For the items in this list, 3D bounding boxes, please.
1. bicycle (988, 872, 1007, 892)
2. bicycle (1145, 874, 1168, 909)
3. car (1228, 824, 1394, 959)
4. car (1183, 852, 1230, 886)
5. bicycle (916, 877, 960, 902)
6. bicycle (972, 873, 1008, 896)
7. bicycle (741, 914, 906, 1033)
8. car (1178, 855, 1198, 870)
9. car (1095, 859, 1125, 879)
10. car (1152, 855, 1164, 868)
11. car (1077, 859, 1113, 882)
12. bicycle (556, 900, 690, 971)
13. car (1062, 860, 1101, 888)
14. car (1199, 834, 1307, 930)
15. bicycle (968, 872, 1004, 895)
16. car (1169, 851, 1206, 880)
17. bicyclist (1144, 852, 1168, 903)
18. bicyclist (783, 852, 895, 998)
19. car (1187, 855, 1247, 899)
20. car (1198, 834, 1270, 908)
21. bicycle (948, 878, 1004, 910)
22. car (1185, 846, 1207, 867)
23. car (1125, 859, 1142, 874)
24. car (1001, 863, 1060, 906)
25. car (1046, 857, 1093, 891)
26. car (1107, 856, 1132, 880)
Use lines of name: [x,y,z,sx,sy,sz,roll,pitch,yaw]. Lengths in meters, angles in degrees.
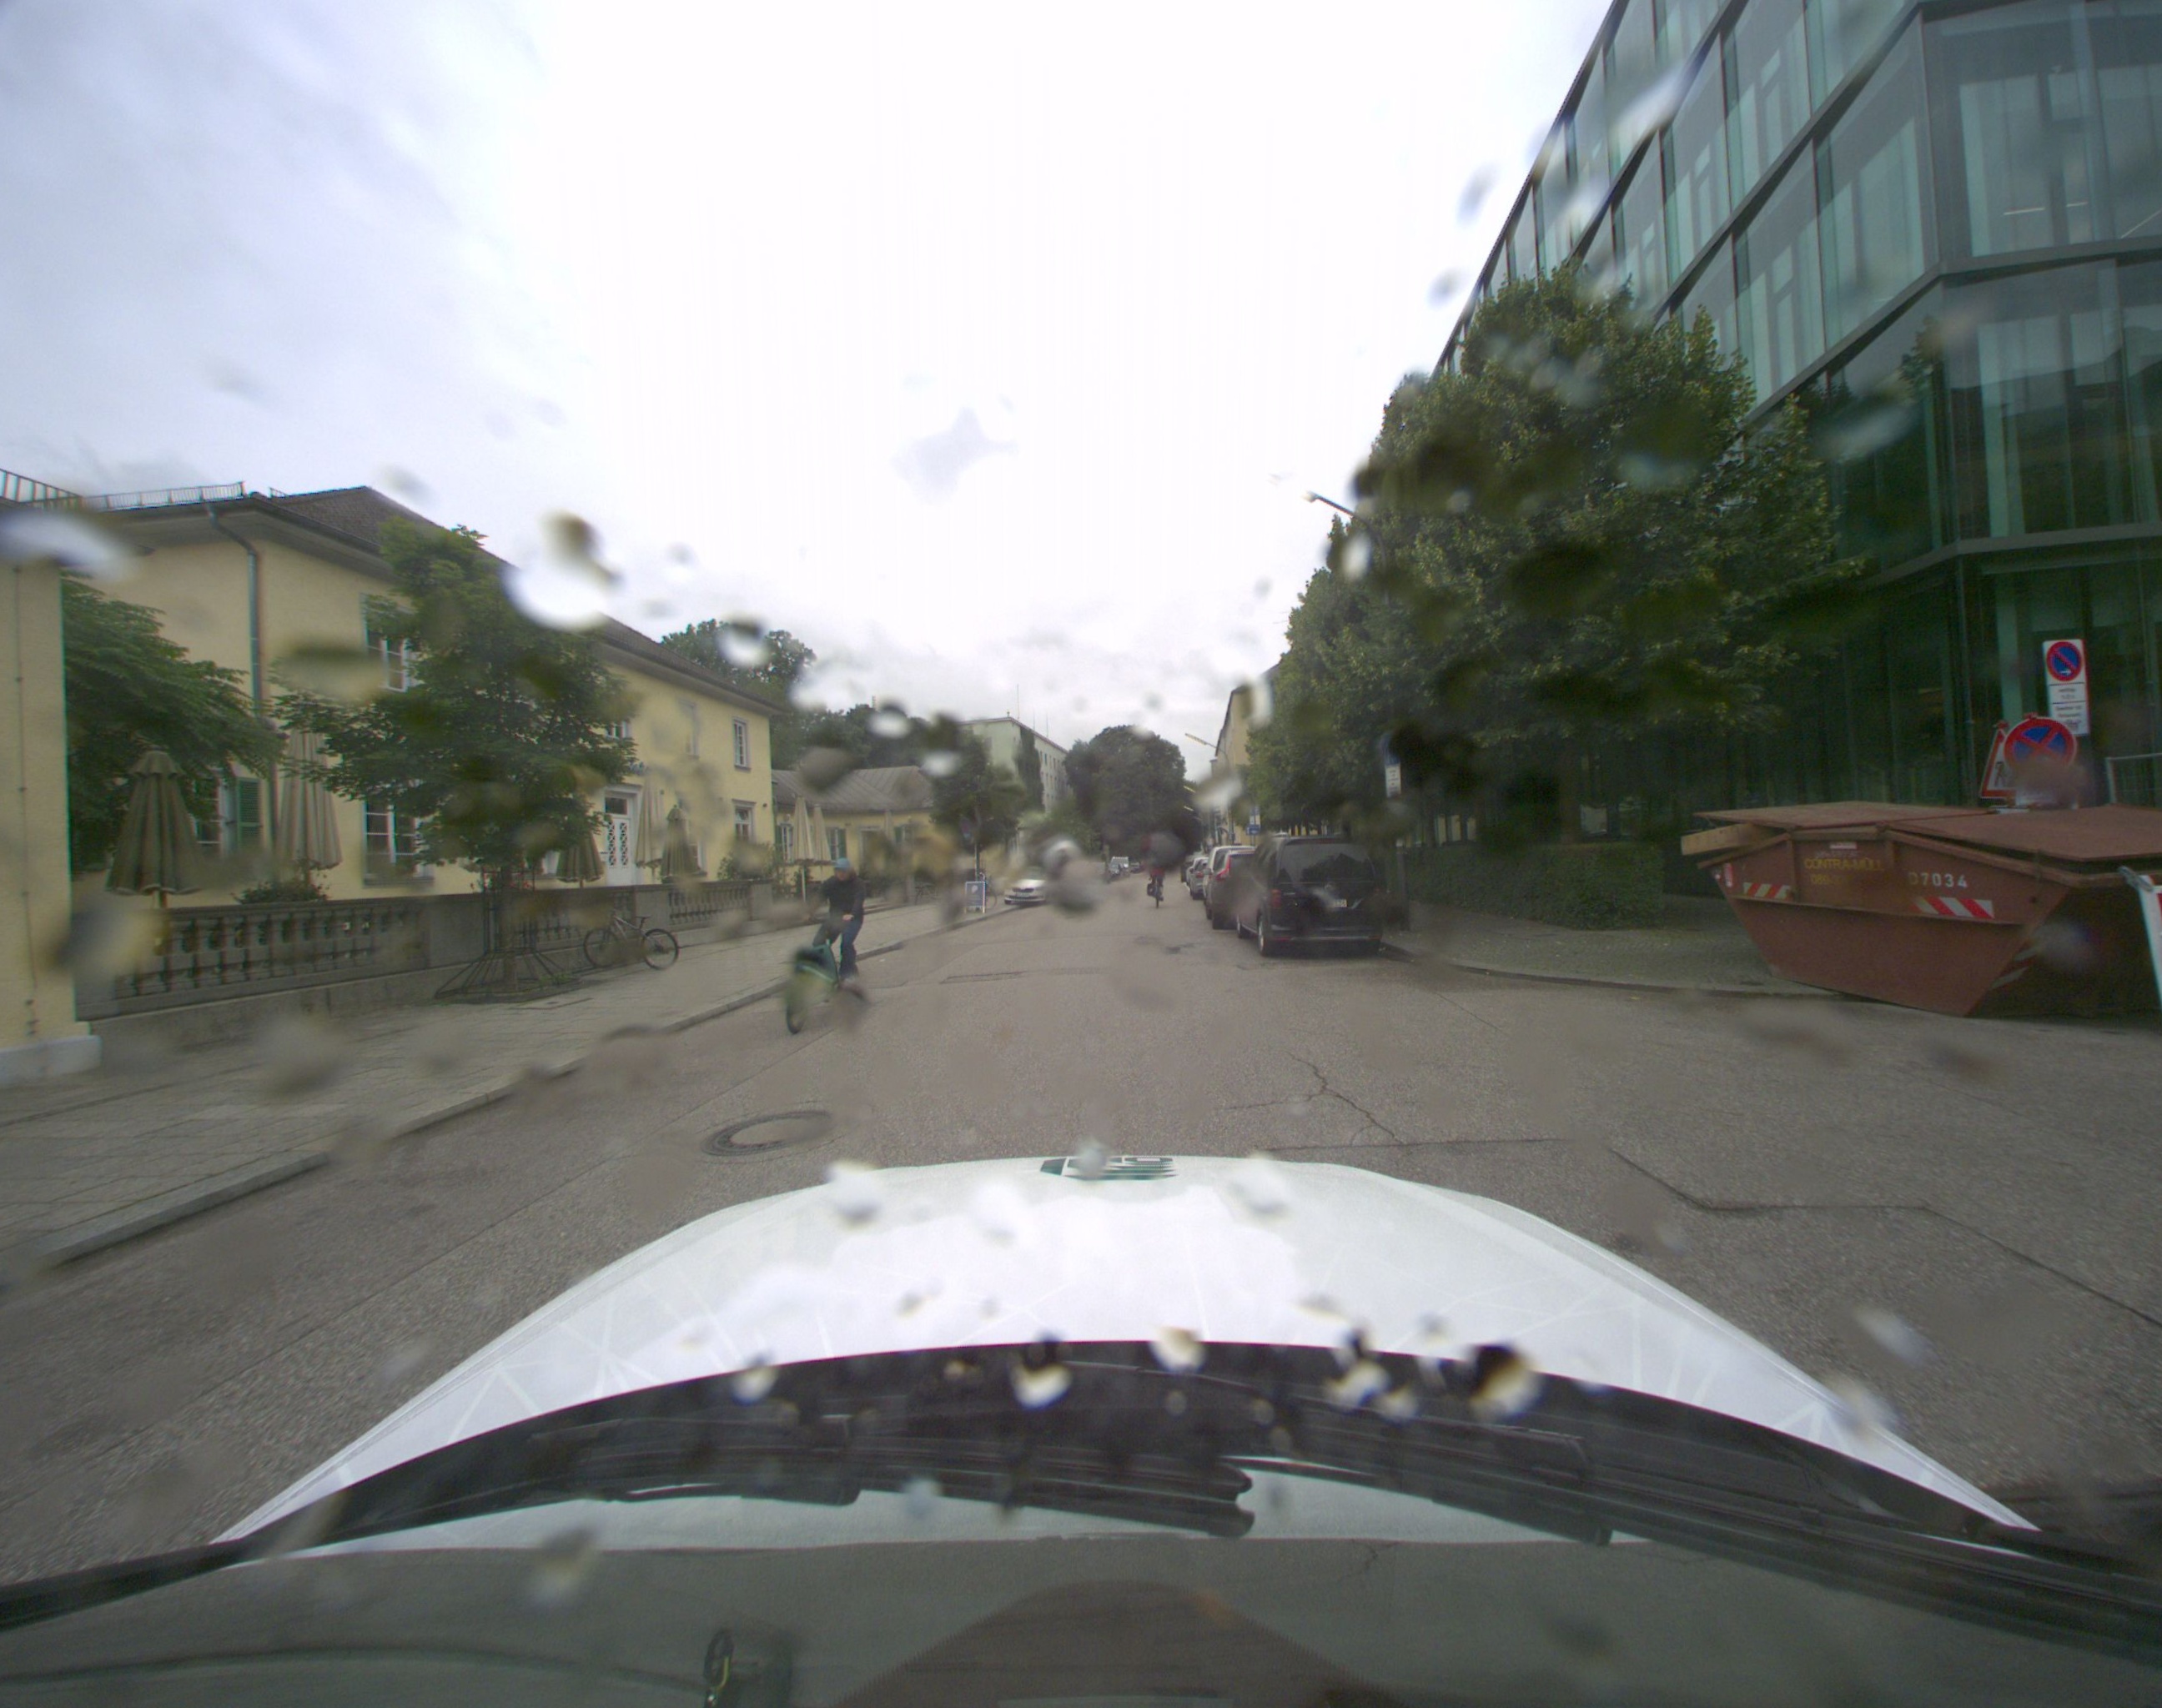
bicycle: [-4.580,1.524,44.625,0.618,1.004,1.623,-3,-2,9]
bicycle: [2.358,1.123,25.118,0.618,1.004,2.143,-3,-2,6]
car: [3.598,0.531,13.522,1.753,1.823,4.143,-2,0,3]
car: [6.319,0.719,41.521,1.985,1.552,4.004,-3,0,4]
bicycle: [-5.758,1.421,32.760,1.620,0.926,0.647,-2,-2,-22]
bicycle: [-4.402,1.486,39.457,1.620,1.004,0.619,-2,-2,-22]
bicycle: [-2.822,1.281,9.224,0.616,1.004,2.150,-3,0,17]
car: [12.135,0.928,92.600,1.985,1.552,4.004,-3,0,4]
car: [2.470,1.217,68.130,1.982,1.486,4.009,-3,0,8]
car: [13.007,1.281,136.796,1.984,2.099,4.006,0,0,5]
car: [1.024,1.130,57.303,1.982,1.486,4.011,-1,0,9]
bicycle: [-7.620,1.353,13.584,1.921,1.099,0.616,-1,0,6]
car: [0.078,1.214,50.351,1.984,1.603,4.005,-3,-1,5]
car: [3.719,0.558,18.351,1.853,1.794,4.517,-3,0,6]
bicycle: [-4.732,1.487,40.742,1.625,1.004,0.617,-3,-2,-32]
car: [6.589,0.703,50.949,1.985,1.618,4.004,-3,0,4]
bicyclist: [2.325,0.728,25.202,0.668,1.497,1.096,-3,-2,5]
bicyclist: [-2.776,0.792,9.422,0.737,1.576,0.981,-3,0,17]
car: [4.933,0.786,30.053,1.854,1.440,4.262,-2,0,6]
car: [4.511,0.477,24.531,1.740,1.943,4.235,-3,0,7]
bicycle: [-3.634,1.376,28.310,0.615,1.004,2.154,0,0,36]
car: [12.259,0.250,86.946,1.985,2.060,4.628,-3,0,4]
car: [6.421,1.479,99.343,1.801,1.683,4.006,-3,0,5]
car: [-1.970,1.166,32.752,1.725,1.581,3.794,0,0,6]
car: [-0.588,1.070,45.300,1.983,1.648,4.663,-3,0,6]
car: [3.639,1.262,76.673,1.984,2.079,4.006,-3,0,5]
